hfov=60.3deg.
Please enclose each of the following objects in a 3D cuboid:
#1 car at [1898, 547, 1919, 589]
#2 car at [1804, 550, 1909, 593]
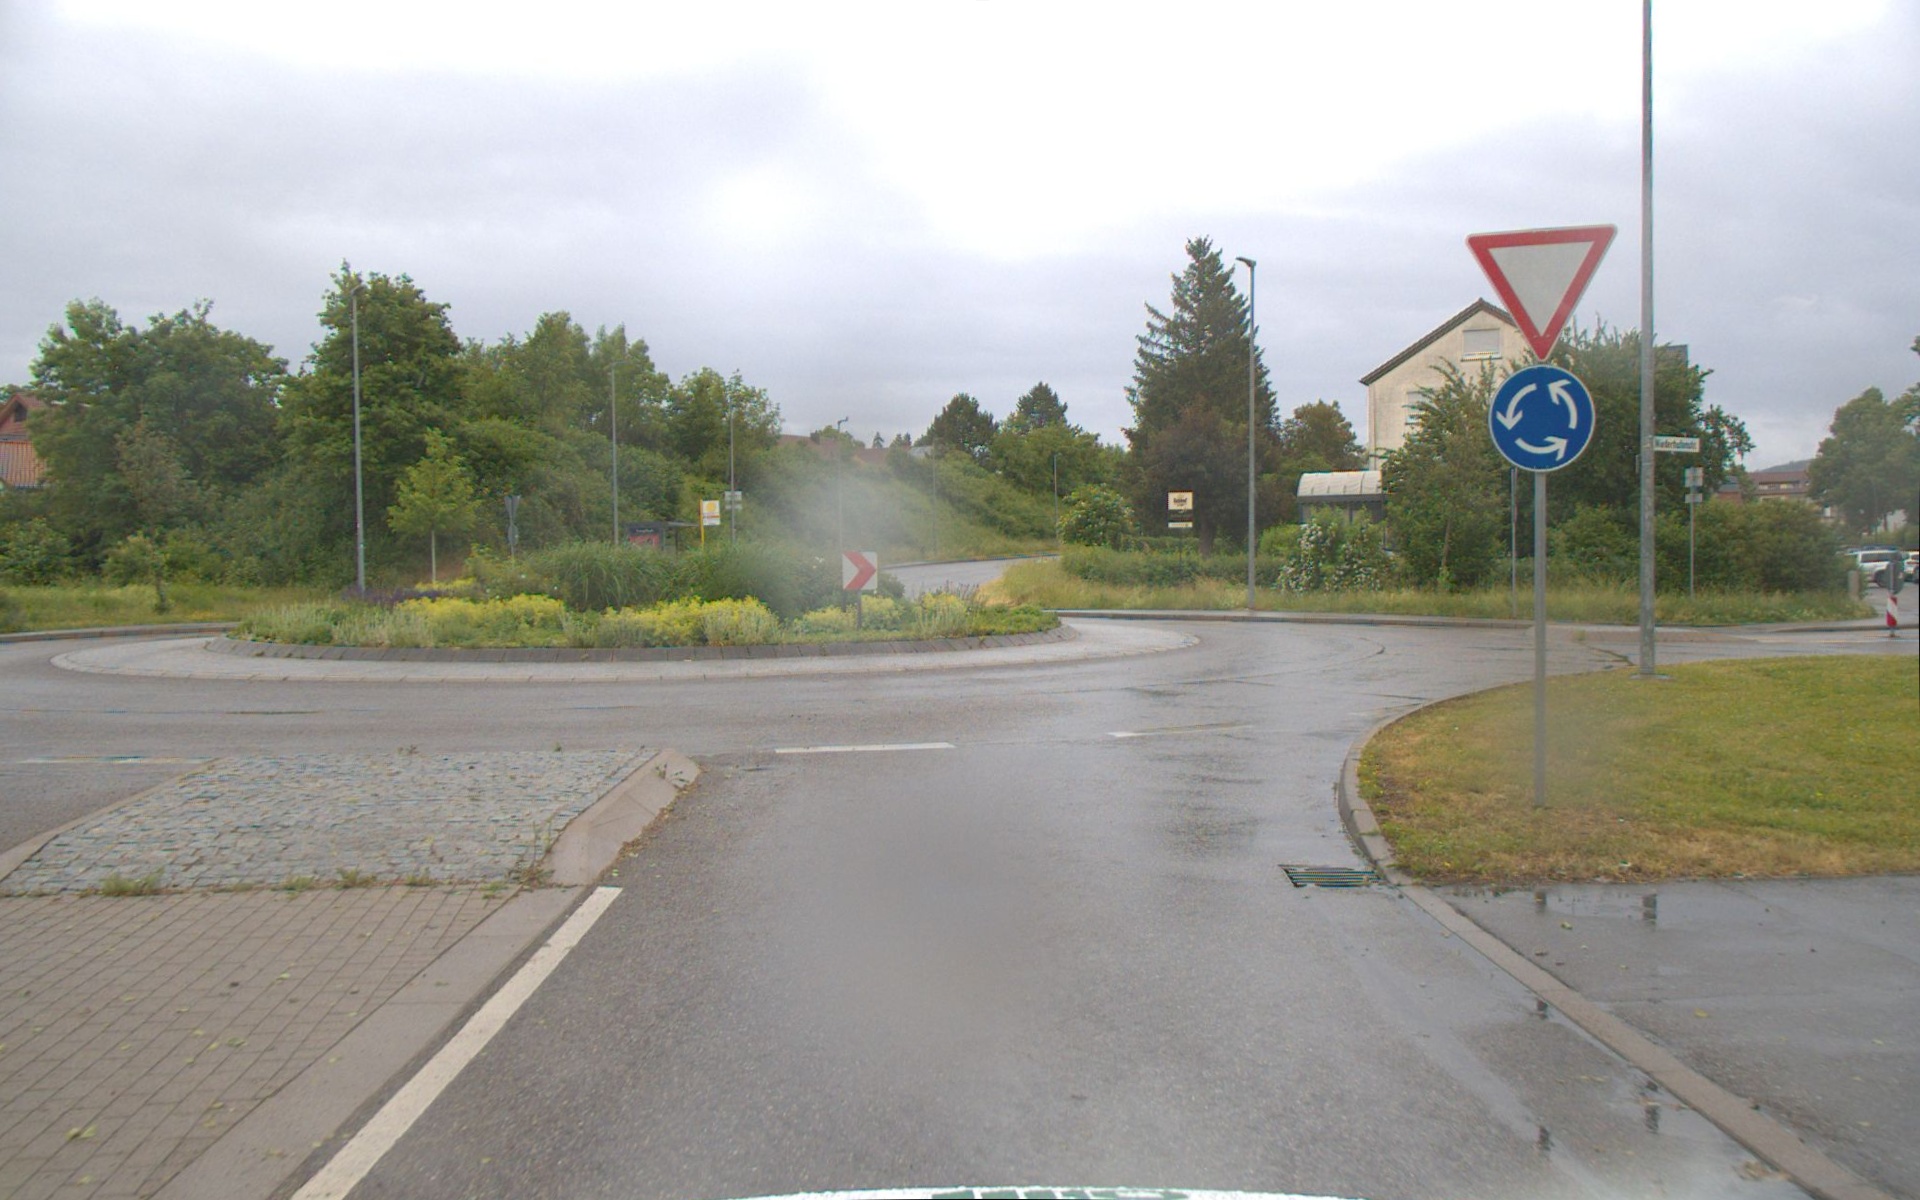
[{"bbox_3d":[48.559,-1.612,83.892,1.555,2.049,3.990,-1,0,32],"label":"car"},{"bbox_3d":[40.797,-1.274,75.255,3.924,1.859,1.888,-1,0,39],"label":"car"}]
